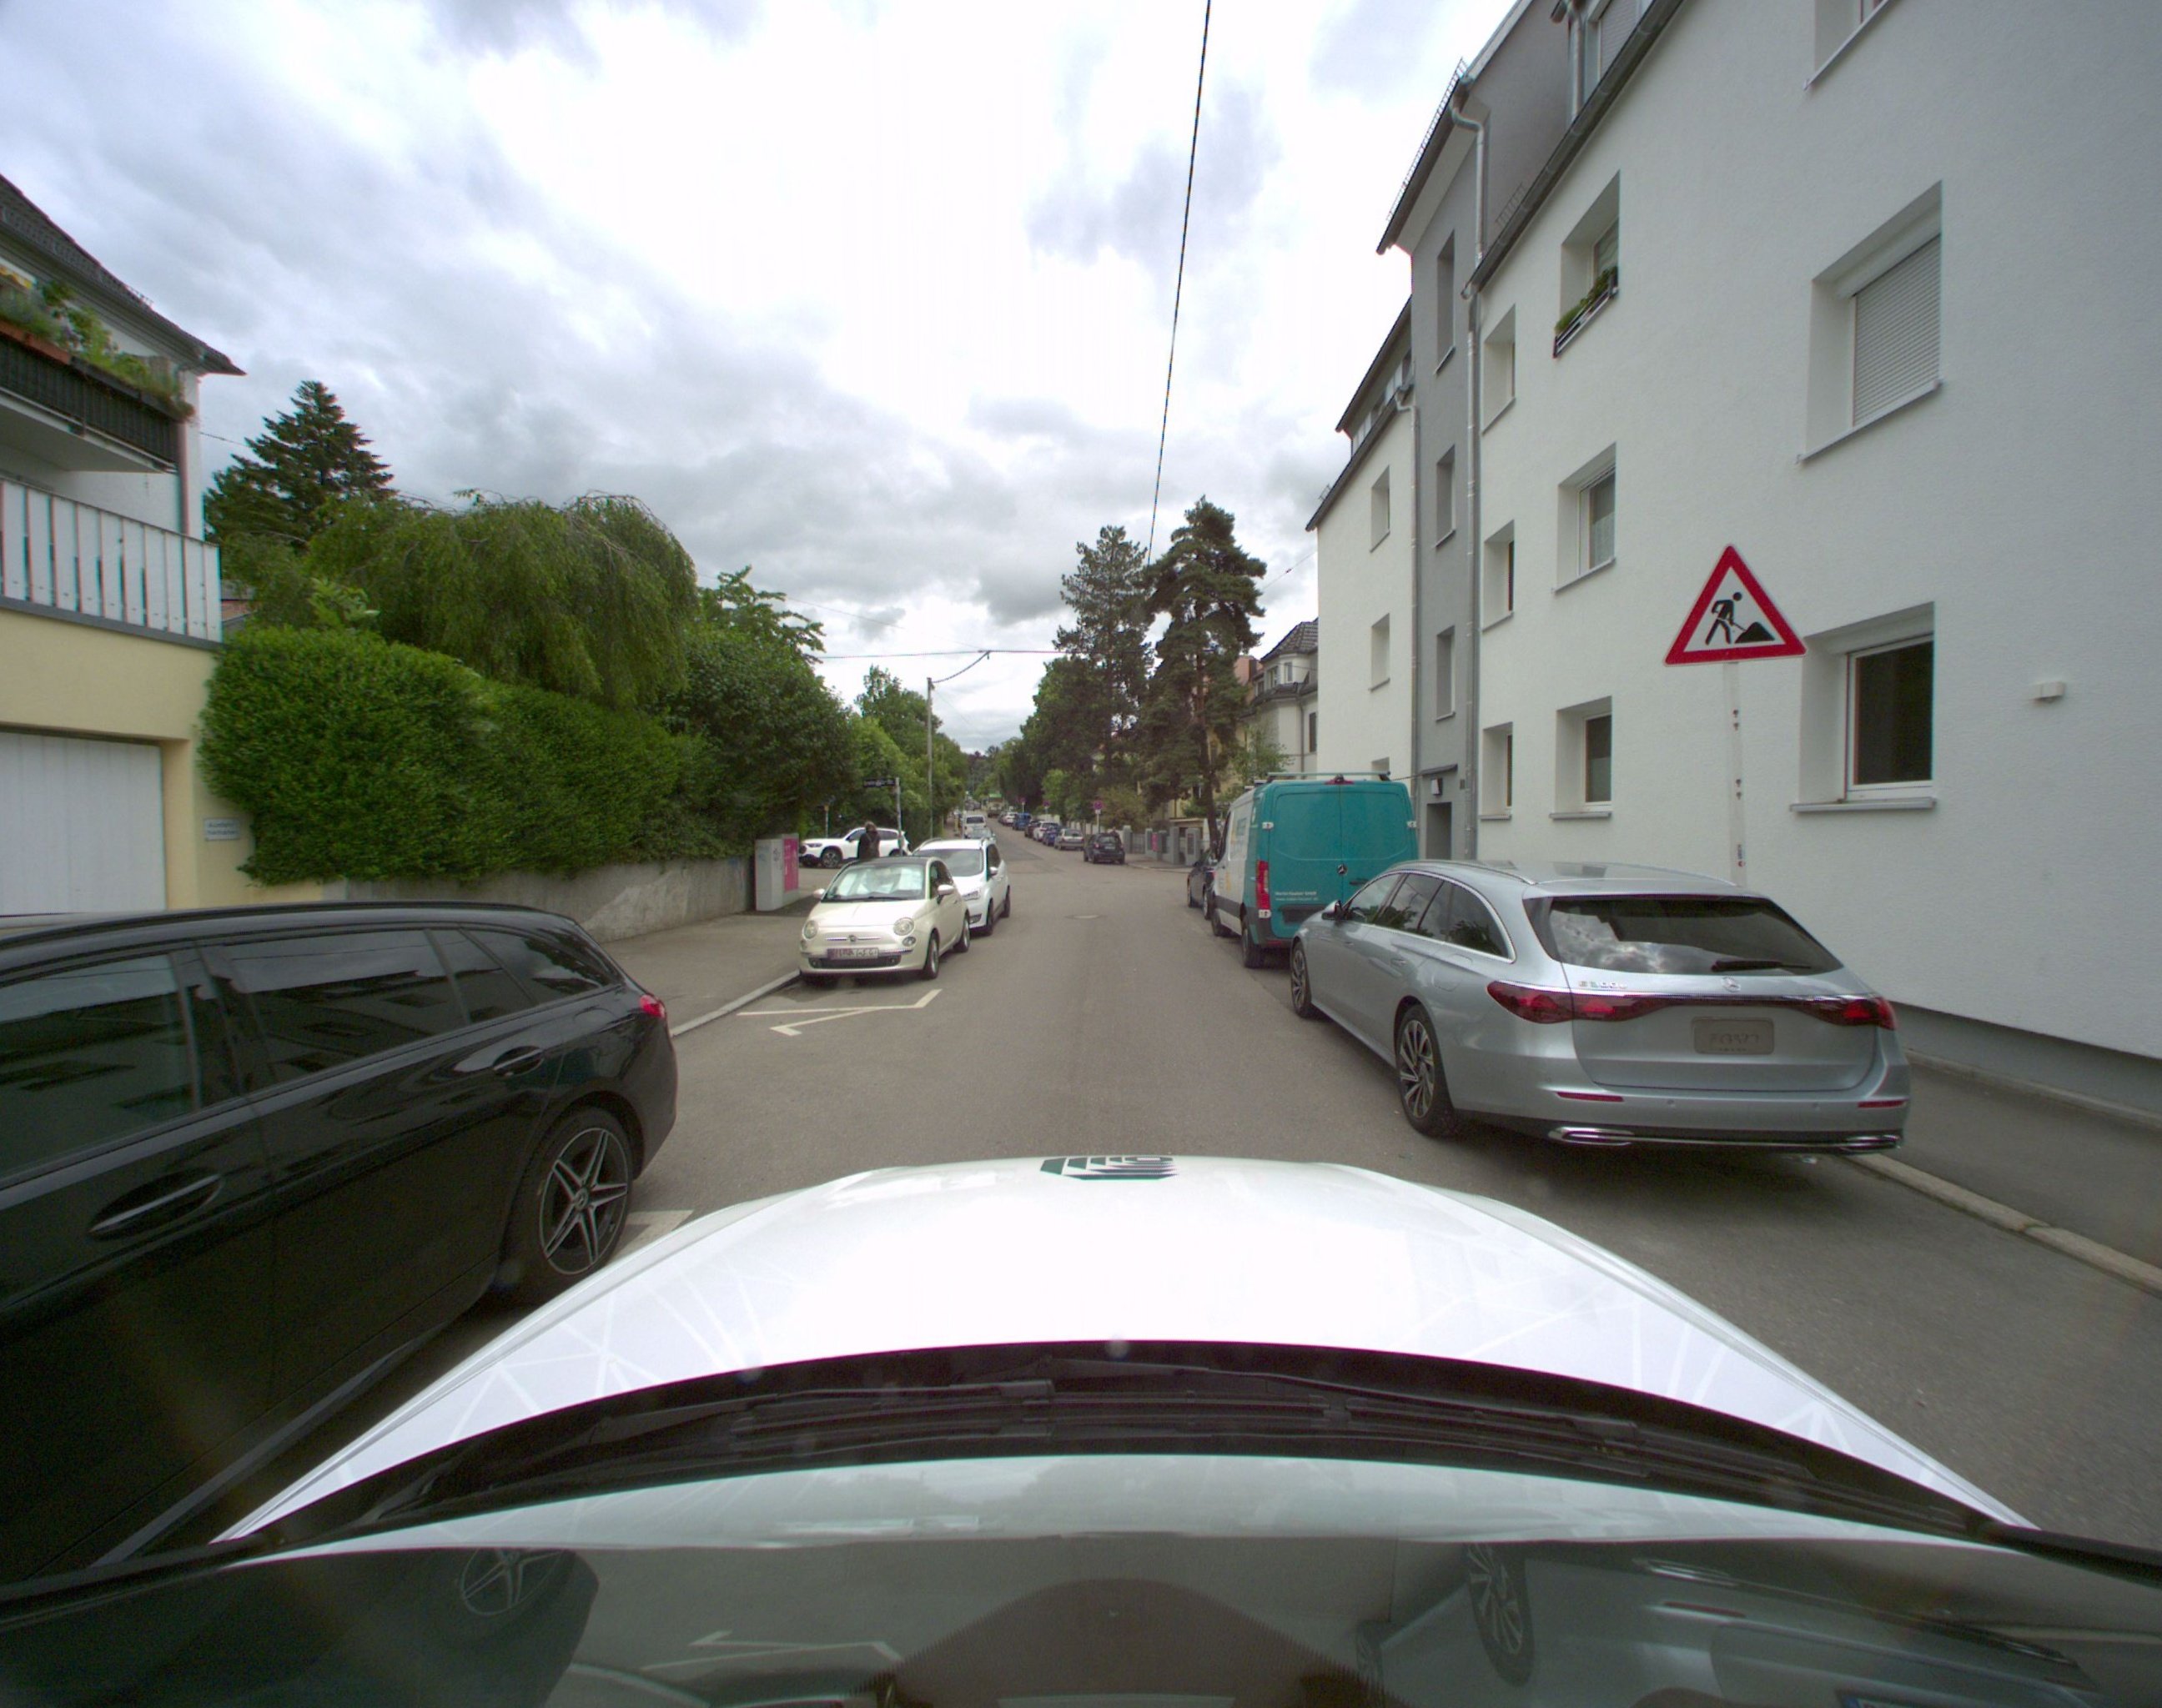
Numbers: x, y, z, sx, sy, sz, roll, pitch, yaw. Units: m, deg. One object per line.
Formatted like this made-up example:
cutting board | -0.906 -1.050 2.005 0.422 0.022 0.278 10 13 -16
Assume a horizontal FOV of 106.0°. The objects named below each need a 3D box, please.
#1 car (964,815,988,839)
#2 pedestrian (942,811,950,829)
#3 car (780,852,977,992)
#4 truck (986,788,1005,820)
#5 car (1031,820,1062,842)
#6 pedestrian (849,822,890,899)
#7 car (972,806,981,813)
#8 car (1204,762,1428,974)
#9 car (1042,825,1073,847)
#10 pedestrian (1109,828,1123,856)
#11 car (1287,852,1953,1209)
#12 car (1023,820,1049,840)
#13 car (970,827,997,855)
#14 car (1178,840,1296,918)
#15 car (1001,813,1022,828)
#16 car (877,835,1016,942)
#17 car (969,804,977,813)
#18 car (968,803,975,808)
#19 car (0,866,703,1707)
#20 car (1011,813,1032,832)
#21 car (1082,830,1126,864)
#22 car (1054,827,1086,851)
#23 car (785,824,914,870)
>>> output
car | -9.057 -2.365 70.106 1.854 1.912 4.606 -3 4 -9
pedestrian | -15.523 -3.906 93.756 0.811 2.013 0.858 0 4 -9
car | -2.533 0.769 11.042 1.601 1.453 3.615 -3 1 1
truck | -13.274 -7.669 125.710 2.524 4.746 7.168 0 4 -9
car | -2.803 -1.845 65.110 1.785 1.602 4.290 1 3 -11
pedestrian | -4.940 0.141 19.071 0.819 1.759 0.642 1 2 -8
car | -24.908 -10.588 194.223 1.779 1.488 3.987 -1 4 -11
car | 3.110 0.145 12.041 1.985 2.422 5.297 -1 0 3
car | -1.724 -1.347 58.520 1.647 1.458 4.040 1 3 -9
pedestrian | 2.059 -0.727 48.578 0.679 1.576 0.905 -3 2 -4
car | 2.769 0.719 5.557 1.817 1.445 4.386 0 0 3
car | -3.916 -2.144 70.907 1.750 1.607 4.063 1 3 -10
car | -6.072 -0.840 50.924 1.439 1.551 2.768 -3 4 -3
car | 3.315 0.449 18.102 1.812 1.485 4.286 0 2 0
car | -8.191 -3.929 95.578 1.759 1.605 4.556 0 4 -13
car | -2.368 0.511 15.393 1.798 1.659 4.153 -1 2 1
car | -22.932 -9.699 172.871 1.634 1.700 3.483 0 4 -10
car | -31.778 -14.156 236.966 1.811 1.335 3.621 1 5 -11
car | -2.736 0.821 1.646 1.796 1.480 4.330 -1 0 1
car | -6.226 -3.341 85.048 1.683 1.828 4.144 1 4 -10
car | 1.157 -0.370 41.739 1.573 1.531 2.857 2 3 -12
car | -0.772 -1.017 53.844 1.573 1.400 3.645 1 3 -9
car | -9.001 -0.256 31.983 1.812 1.655 4.541 3 2 44
